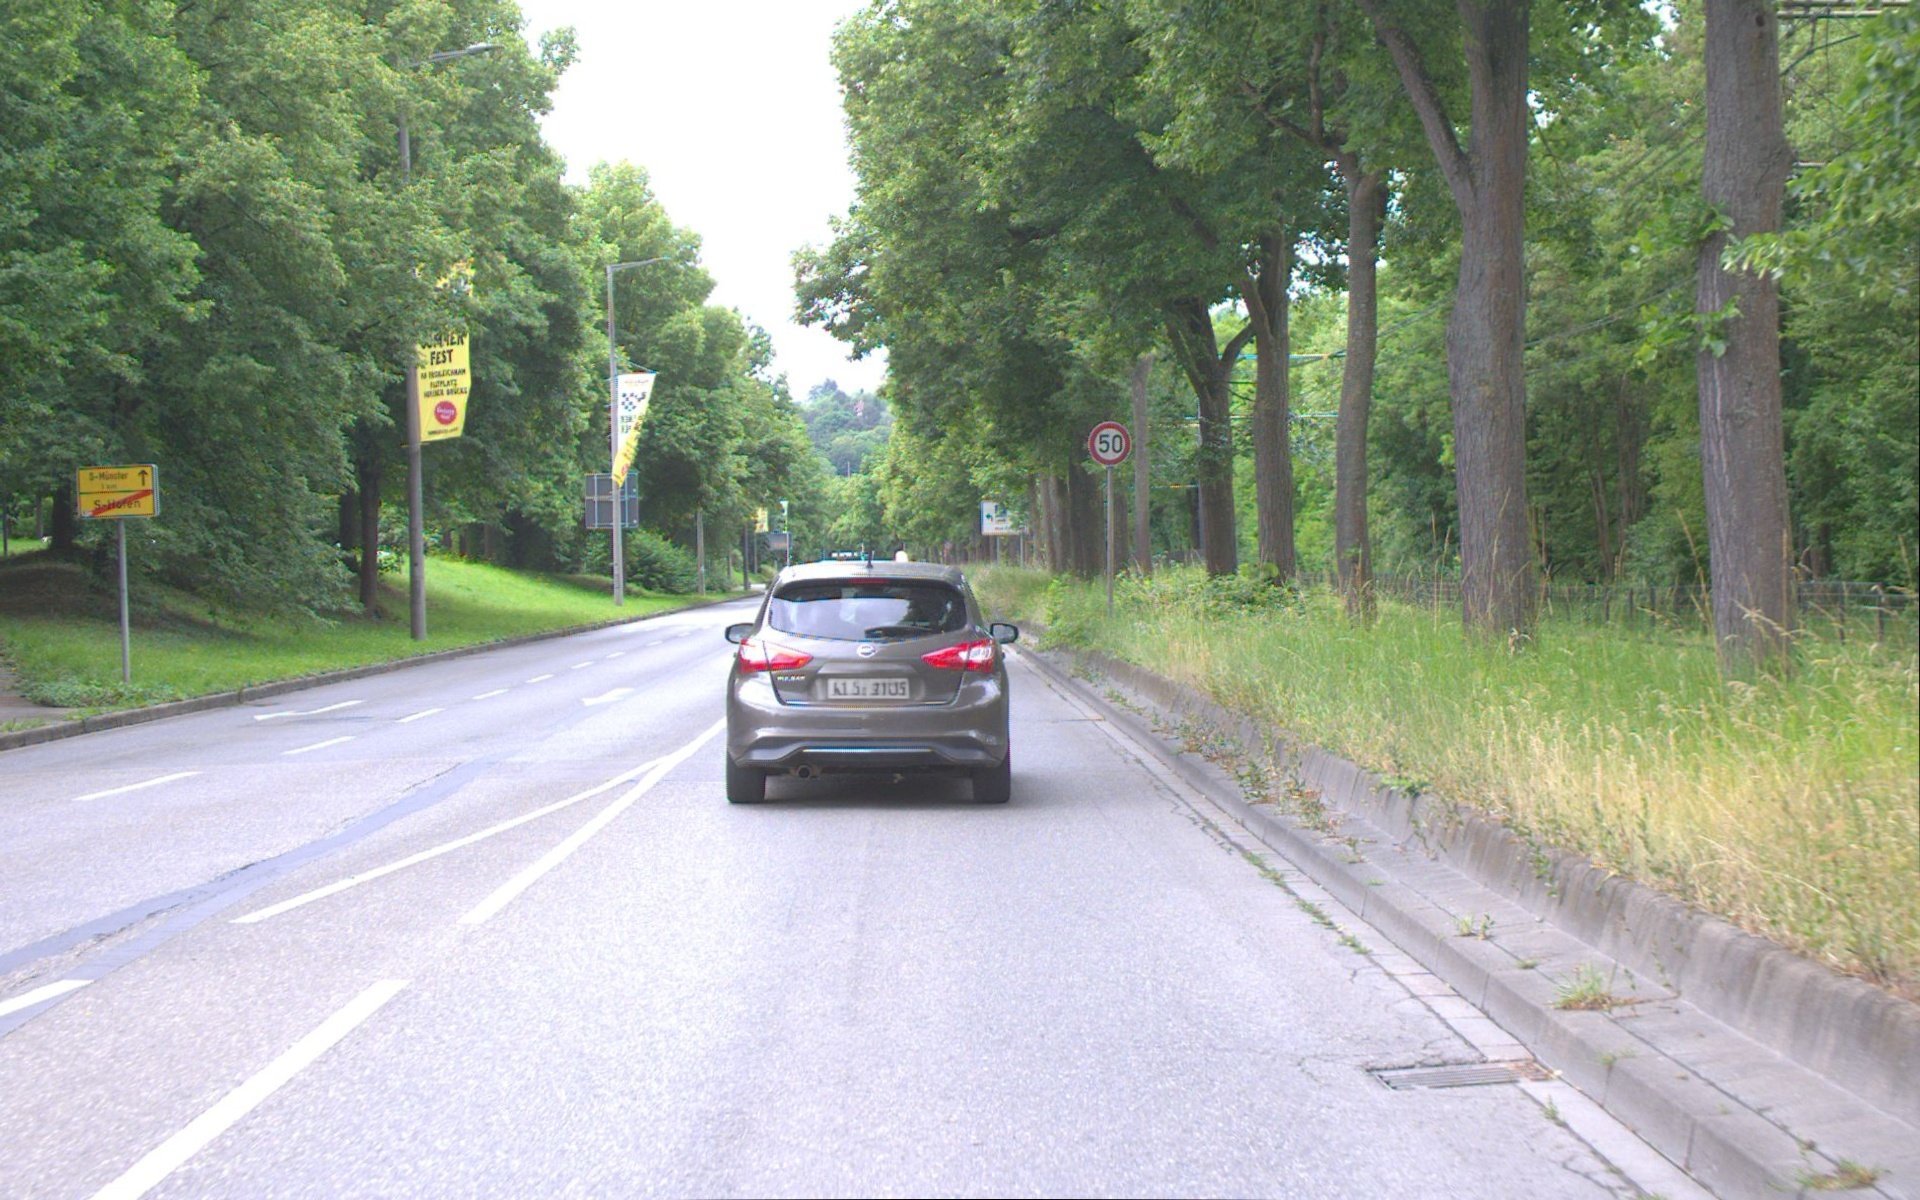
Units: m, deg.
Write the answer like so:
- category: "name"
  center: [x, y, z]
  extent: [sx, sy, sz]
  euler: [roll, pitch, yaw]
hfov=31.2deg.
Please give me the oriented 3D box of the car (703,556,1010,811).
- category: "car"
  center: [-0.592, 0.488, 22.623]
  extent: [1.837, 1.523, 3.929]
  euler: [0, 0, 1]

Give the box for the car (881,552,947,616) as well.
- category: "car"
  center: [-1.109, -0.400, 84.710]
  extent: [1.503, 1.523, 3.671]
  euler: [1, 0, 1]
